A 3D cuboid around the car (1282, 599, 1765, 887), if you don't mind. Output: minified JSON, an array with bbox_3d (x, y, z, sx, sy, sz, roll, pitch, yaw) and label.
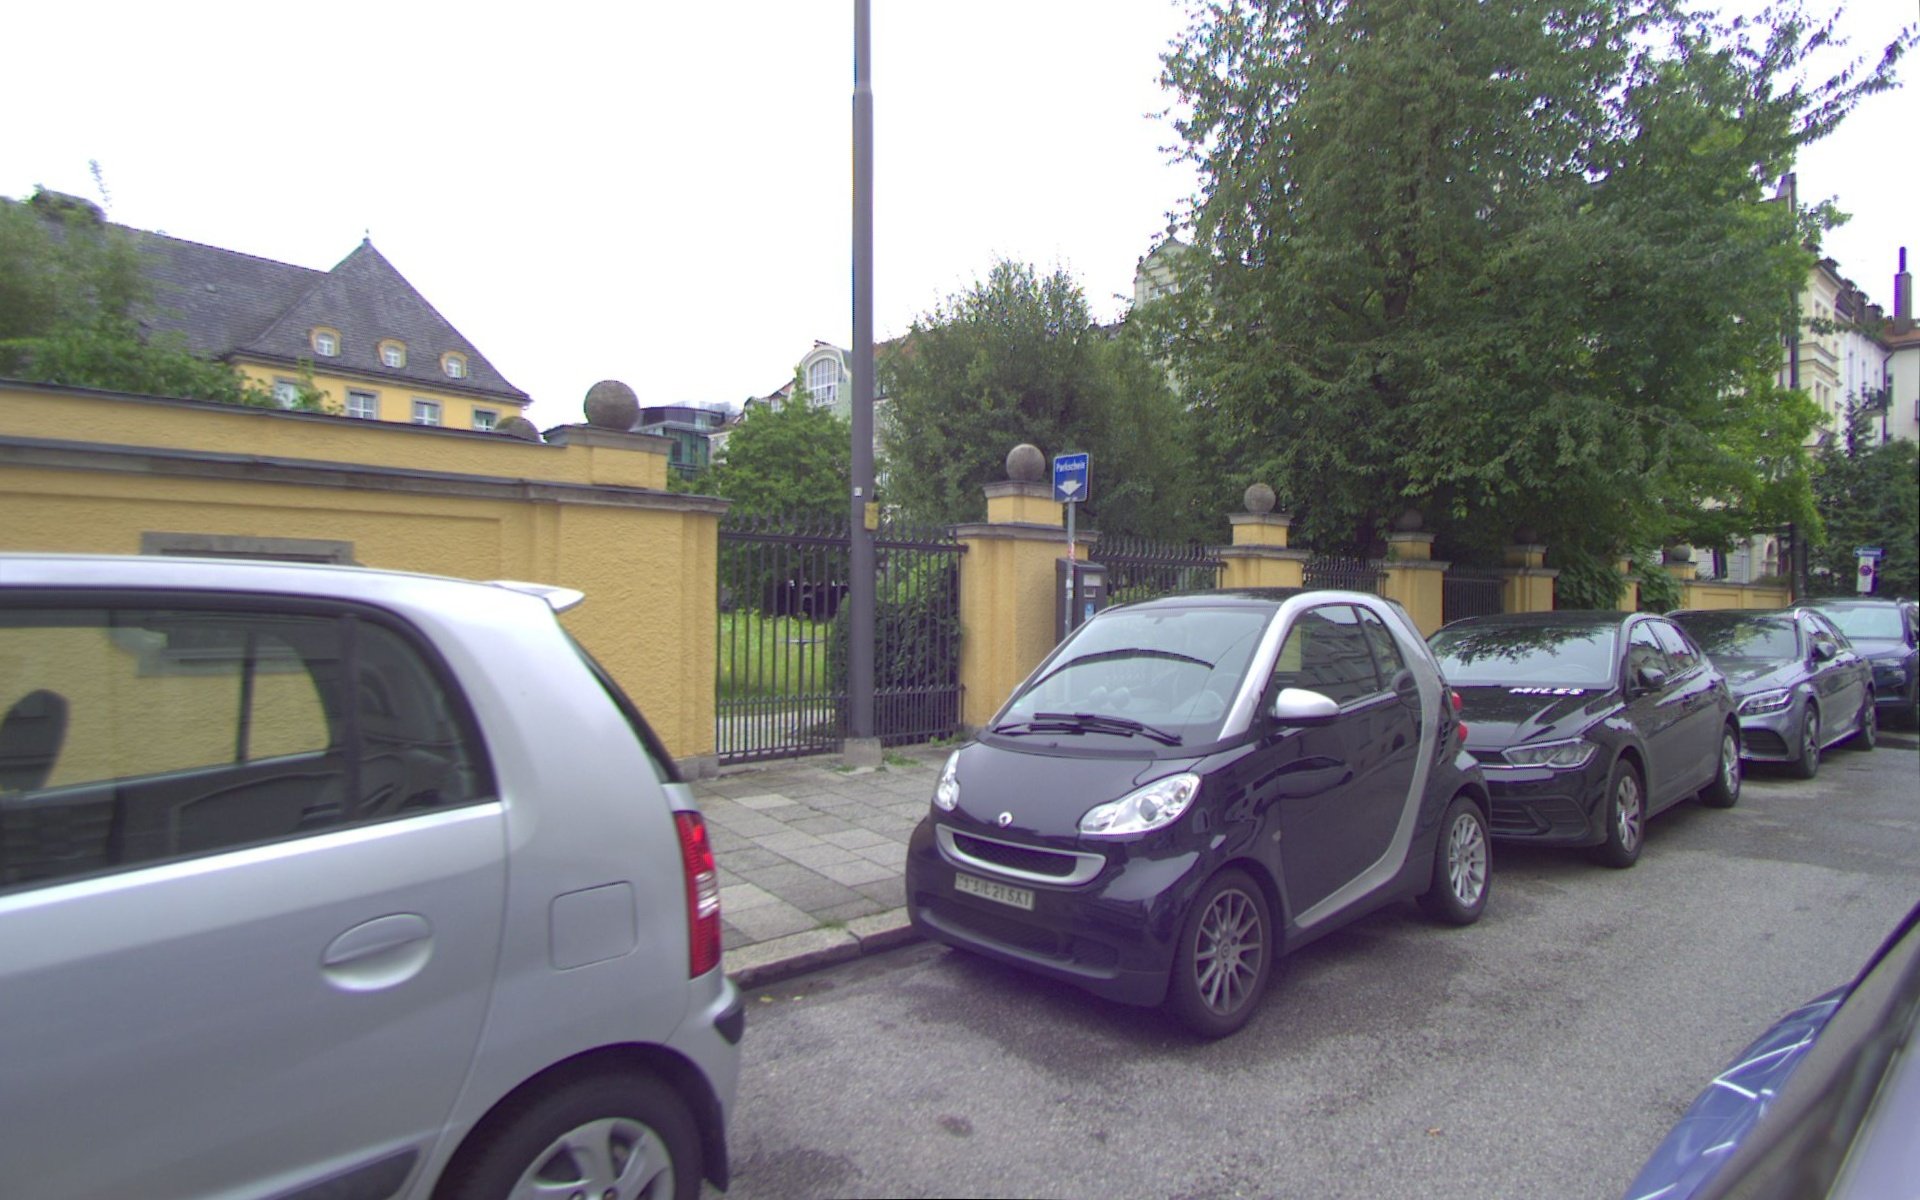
[{"bbox_3d":[4.055,0.734,7.005,3.966,1.433,1.694,0,-1,-42],"label":"car"}]

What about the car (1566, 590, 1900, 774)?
[{"bbox_3d":[7.869,0.662,10.140,4.435,1.432,1.696,1,1,-40],"label":"car"}]

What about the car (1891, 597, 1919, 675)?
[{"bbox_3d":[20.104,0.716,20.197,4.109,1.471,1.716,1,1,-40],"label":"car"}]

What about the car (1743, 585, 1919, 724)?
[{"bbox_3d":[12.382,0.637,13.831,4.608,1.590,1.716,1,1,-40],"label":"car"}]

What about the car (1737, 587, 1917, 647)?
[{"bbox_3d":[30.464,0.572,35.674,1.713,1.896,4.670,4,-1,-43],"label":"car"}]

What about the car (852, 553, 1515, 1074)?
[{"bbox_3d":[1.104,0.666,4.583,2.818,1.586,1.511,0,-1,-39],"label":"car"}]

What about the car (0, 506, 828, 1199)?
[{"bbox_3d":[-2.127,0.656,1.661,3.630,1.559,1.486,1,-1,-43],"label":"car"}]

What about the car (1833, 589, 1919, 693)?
[{"bbox_3d":[16.362,0.652,17.155,4.243,1.590,1.716,1,1,-40],"label":"car"}]
